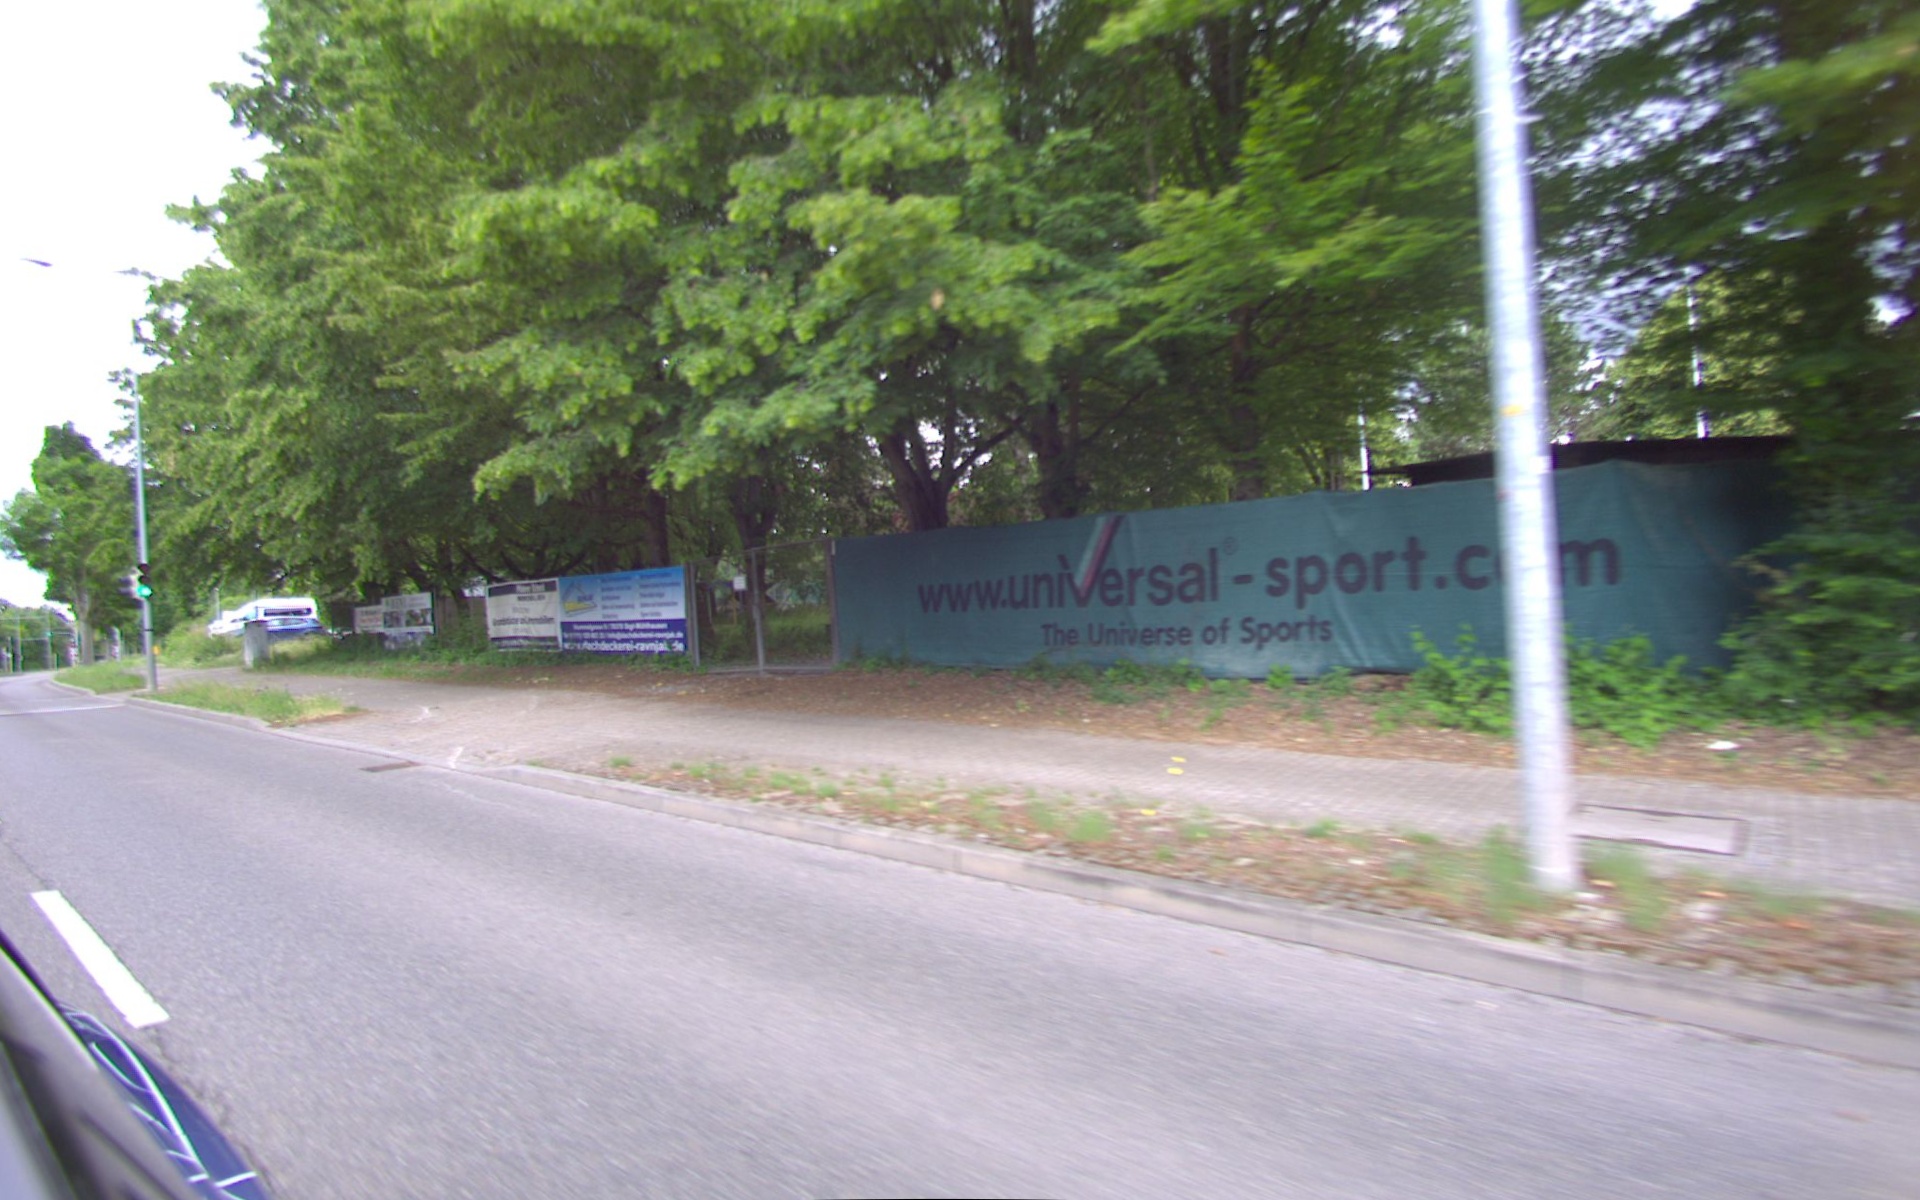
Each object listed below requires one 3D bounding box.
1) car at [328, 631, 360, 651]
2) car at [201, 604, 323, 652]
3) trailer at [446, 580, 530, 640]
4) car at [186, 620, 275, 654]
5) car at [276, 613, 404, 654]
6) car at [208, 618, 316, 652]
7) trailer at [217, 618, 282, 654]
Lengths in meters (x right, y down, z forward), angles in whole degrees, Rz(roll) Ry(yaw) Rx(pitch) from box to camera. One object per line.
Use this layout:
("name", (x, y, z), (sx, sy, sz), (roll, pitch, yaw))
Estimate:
("car", (-51.596, 3.471, 84.766), (1.967, 1.428, 4.057), (-4, -1, -35))
("car", (-36.973, 1.476, 53.705), (5.091, 2.122, 2.218), (-4, -1, -39))
("trailer", (-26.961, 0.622, 57.627), (2.615, 3.097, 7.209), (-4, 1, -38))
("car", (-41.247, 2.086, 57.351), (3.981, 1.559, 2.005), (-4, -1, -35))
("car", (-30.545, 1.625, 49.939), (5.091, 1.573, 1.889), (-4, -1, -39))
("car", (-35.203, 1.762, 51.118), (4.323, 1.326, 1.566), (-4, -1, -39))
("trailer", (-45.788, 2.327, 65.296), (3.321, 2.073, 1.682), (-3, -1, -34))
